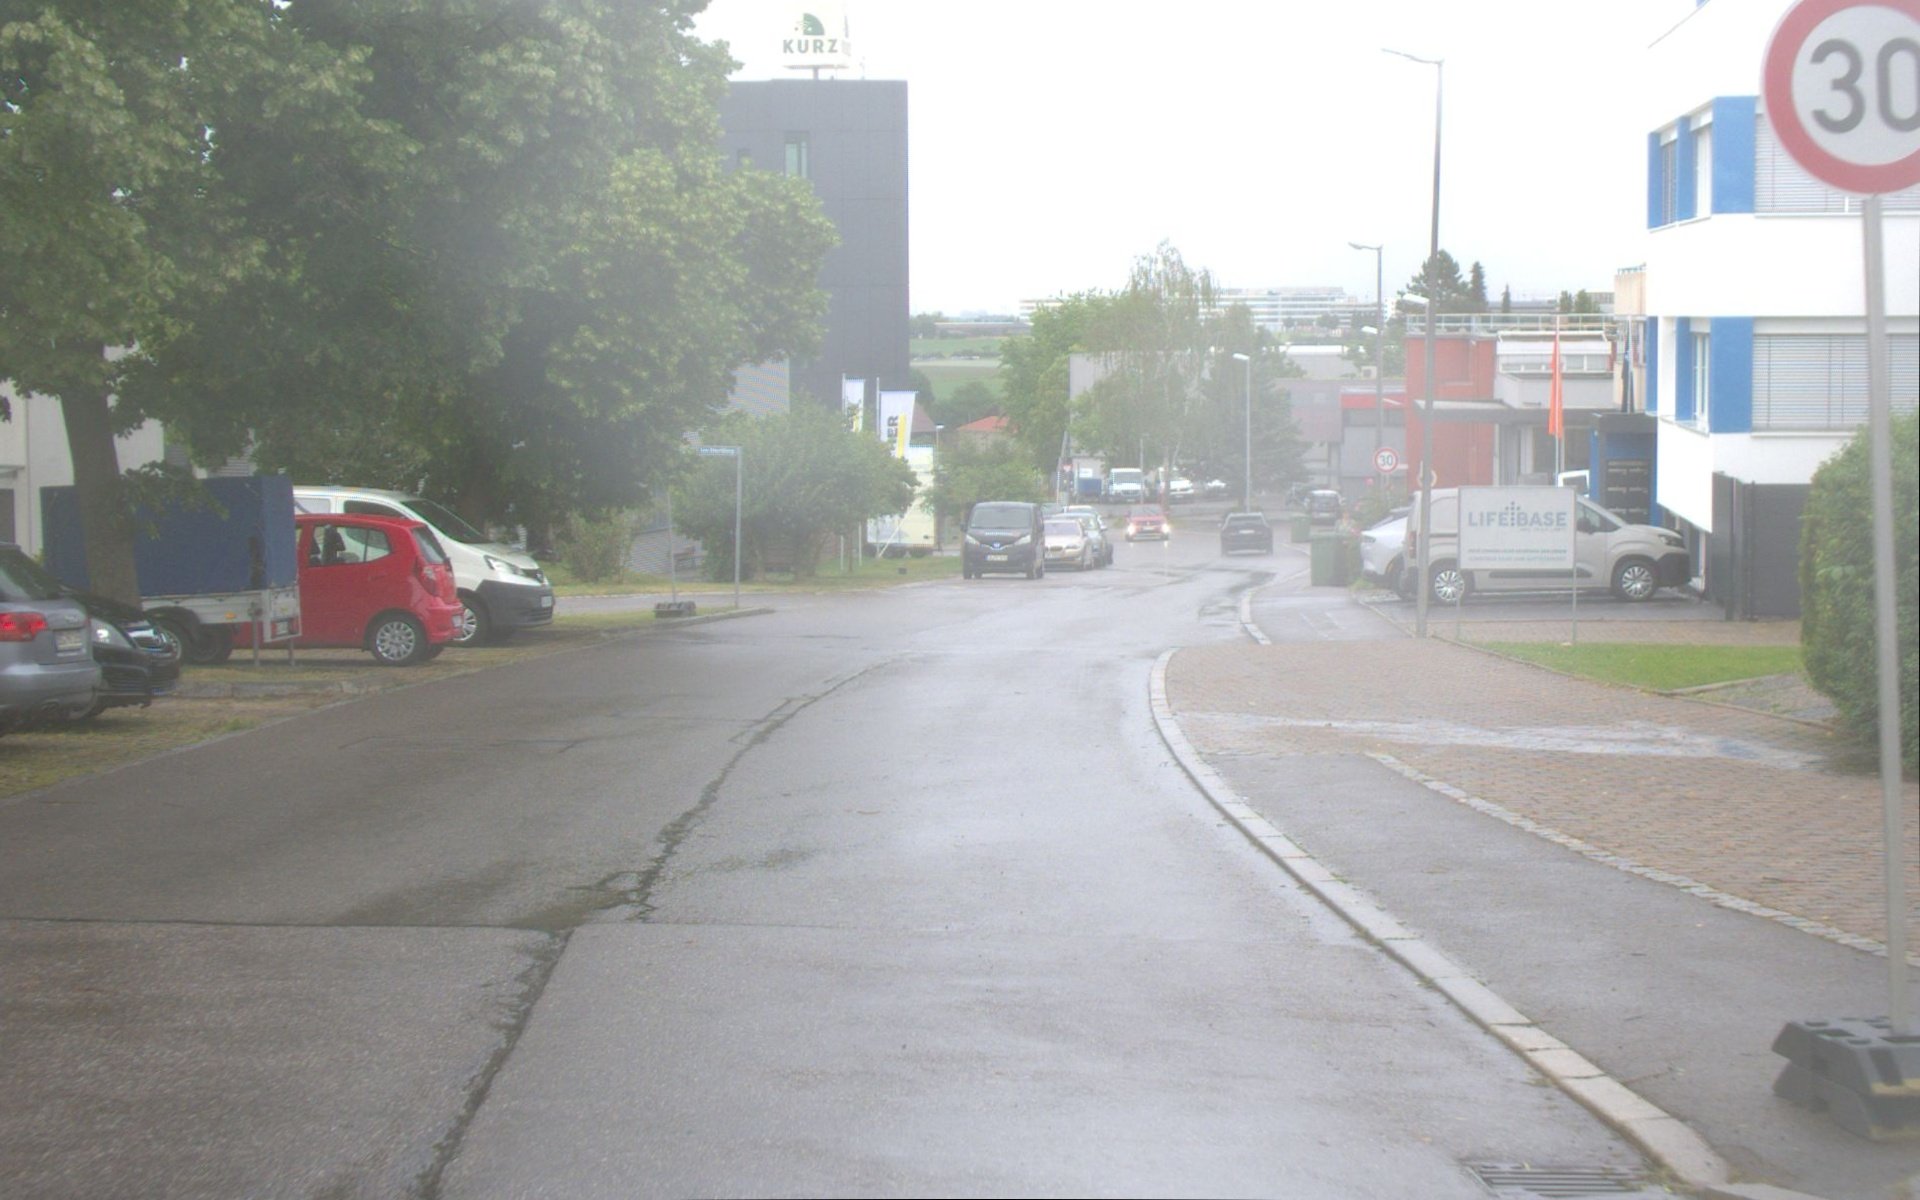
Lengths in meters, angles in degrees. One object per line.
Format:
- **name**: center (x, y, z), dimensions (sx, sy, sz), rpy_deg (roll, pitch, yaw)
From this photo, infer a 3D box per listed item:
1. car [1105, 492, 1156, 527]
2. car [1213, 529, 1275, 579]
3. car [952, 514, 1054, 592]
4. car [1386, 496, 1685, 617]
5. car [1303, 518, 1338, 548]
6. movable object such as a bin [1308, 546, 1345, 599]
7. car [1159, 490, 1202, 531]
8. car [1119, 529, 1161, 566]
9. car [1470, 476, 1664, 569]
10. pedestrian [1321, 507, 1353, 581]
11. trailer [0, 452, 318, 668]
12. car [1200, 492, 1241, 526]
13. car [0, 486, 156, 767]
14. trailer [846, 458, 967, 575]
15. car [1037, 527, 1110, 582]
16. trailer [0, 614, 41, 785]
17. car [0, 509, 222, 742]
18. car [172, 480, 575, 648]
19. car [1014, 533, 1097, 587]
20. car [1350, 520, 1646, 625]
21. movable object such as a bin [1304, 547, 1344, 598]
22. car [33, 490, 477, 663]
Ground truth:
- **car**: center (10.334, -5.479, 208.782), dimensions (2.264, 2.007, 4.001), rpy_deg (0, 1, -9)
- **car**: center (9.687, -1.550, 117.525), dimensions (1.956, 1.670, 4.472), rpy_deg (0, 0, 2)
- **car**: center (1.058, -1.143, 82.476), dimensions (1.916, 1.825, 4.846), rpy_deg (0, 1, 7)
- **car**: center (8.780, -0.670, 52.726), dimensions (4.341, 1.767, 2.089), rpy_deg (-1, 1, 5)
- **car**: center (18.139, -3.361, 173.196), dimensions (1.697, 1.470, 3.999), rpy_deg (0, 1, 6)
- **movable object such as a bin**: center (7.532, -0.571, 70.629), dimensions (0.743, 1.063, 0.636), rpy_deg (0, 1, 8)
- **car**: center (13.371, -5.435, 208.893), dimensions (2.192, 2.451, 4.000), rpy_deg (0, 1, -2)
- **car**: center (7.767, -2.266, 148.412), dimensions (1.747, 1.503, 3.935), rpy_deg (-2, 0, 3)
- **car**: center (17.975, -2.279, 102.026), dimensions (5.299, 2.006, 2.221), rpy_deg (-8, 0, 6)
- **pedestrian**: center (9.000, -1.334, 82.073), dimensions (0.737, 1.761, 0.808), rpy_deg (0, 1, 8)
- **trailer**: center (-8.398, -0.370, 32.653), dimensions (4.213, 1.977, 1.774), rpy_deg (0, 0, 4)
- **car**: center (15.875, -5.524, 209.635), dimensions (2.145, 2.007, 3.940), rpy_deg (0, 1, -1)
- **car**: center (-7.541, 0.094, 22.285), dimensions (4.074, 1.716, 2.025), rpy_deg (2, 1, 5)
- **trailer**: center (-1.969, -3.048, 125.901), dimensions (4.184, 4.188, 2.001), rpy_deg (0, 1, 44)
- **car**: center (3.441, -1.357, 103.357), dimensions (1.957, 1.571, 4.839), rpy_deg (-1, 1, 5)
- **trailer**: center (-7.496, 0.565, 19.614), dimensions (3.941, 0.958, 2.000), rpy_deg (1, 2, 2)
- **car**: center (-7.879, 0.110, 24.843), dimensions (4.618, 1.584, 1.806), rpy_deg (2, 1, 4)
- **car**: center (-6.868, -0.416, 40.486), dimensions (4.301, 1.899, 1.861), rpy_deg (0, 0, 9)
- **car**: center (2.722, -1.142, 97.024), dimensions (1.956, 1.456, 5.247), rpy_deg (0, 1, 6)
- **car**: center (8.684, -0.455, 55.845), dimensions (4.598, 1.533, 2.079), rpy_deg (-2, 1, 6)
- **movable object such as a bin**: center (7.402, -0.565, 69.905), dimensions (0.772, 1.026, 0.808), rpy_deg (0, 1, 8)
- **car**: center (-7.216, -0.243, 35.443), dimensions (4.195, 1.716, 1.755), rpy_deg (0, 0, 1)
